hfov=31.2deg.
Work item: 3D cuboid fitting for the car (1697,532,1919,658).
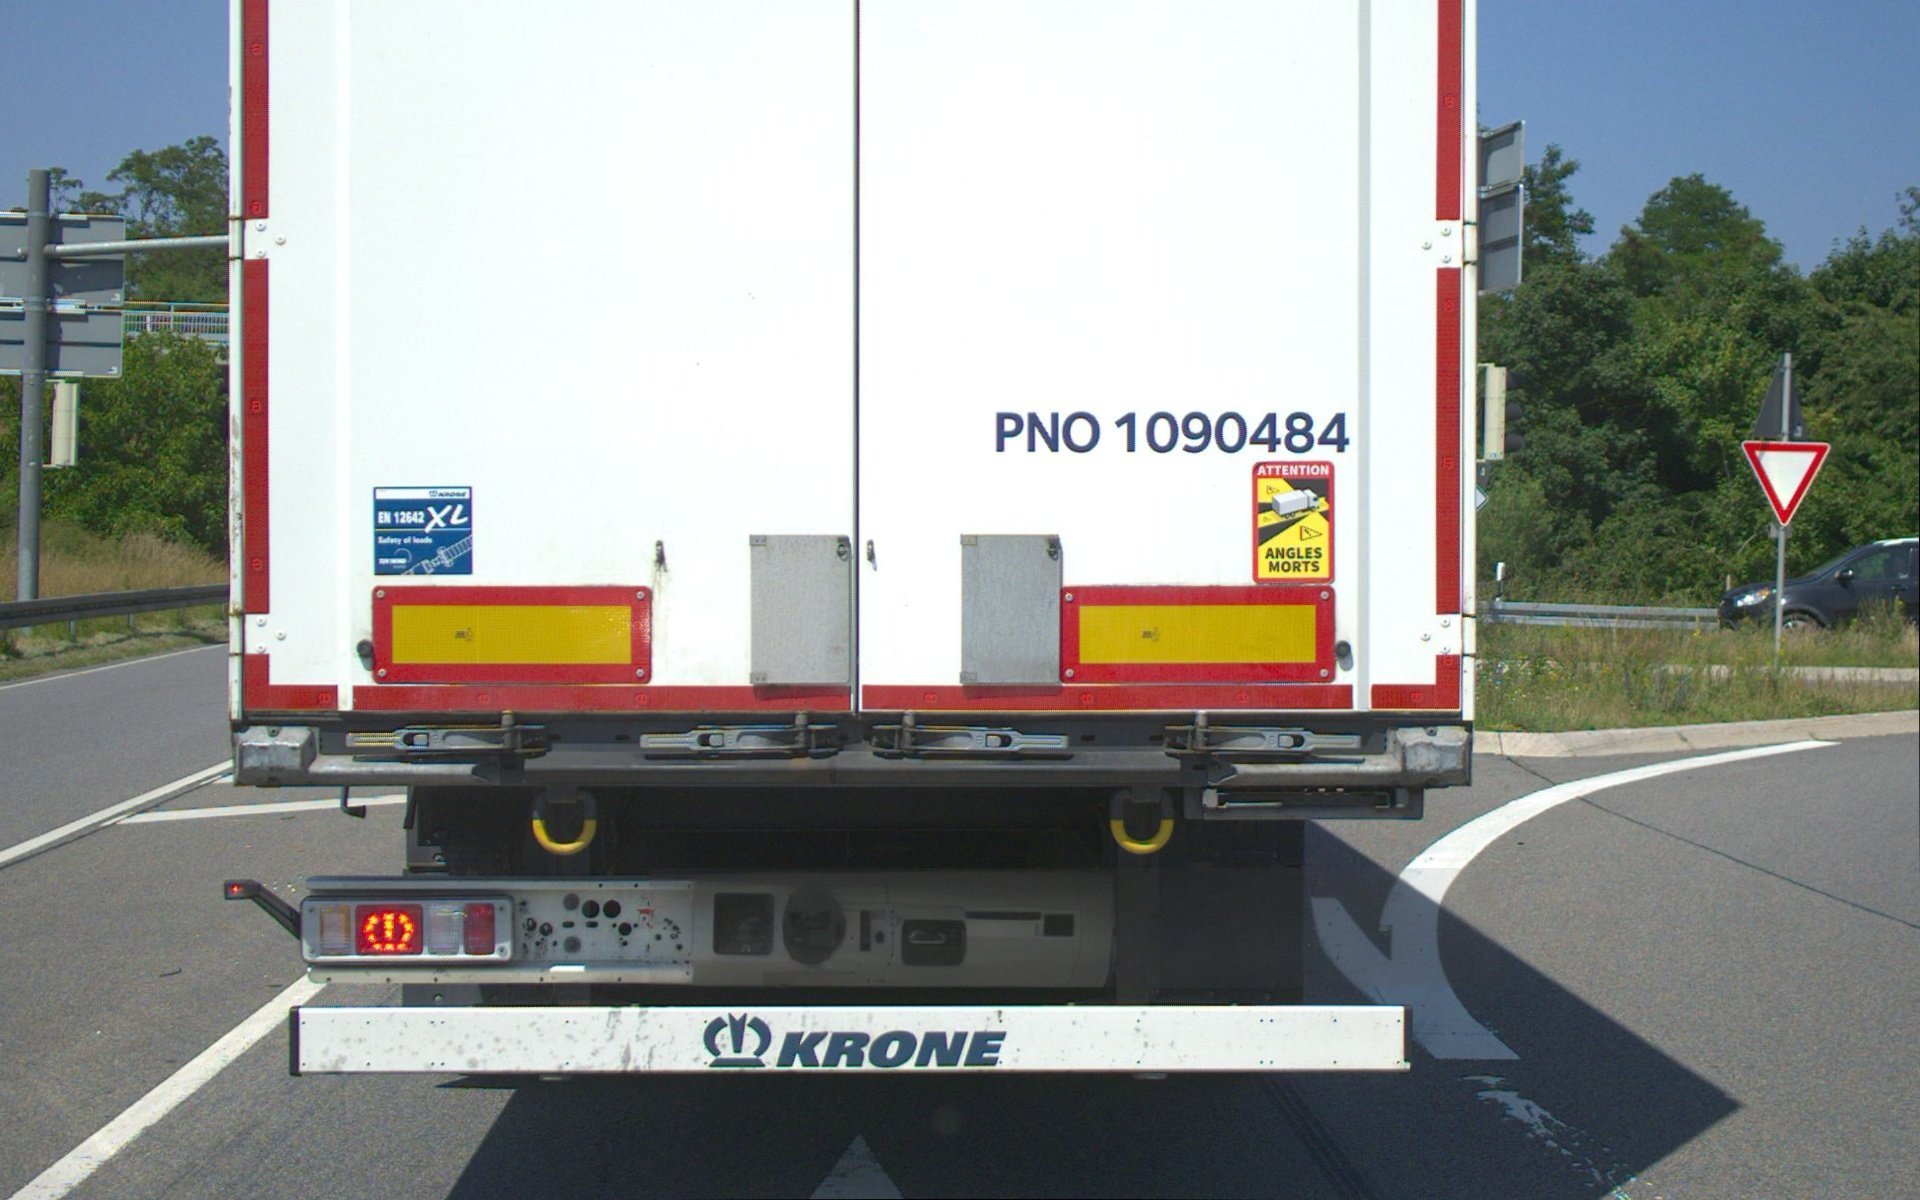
[{"bbox_3d":[12.034,-0.066,46.097,3.986,1.634,1.841,1,0,5],"label":"car"}]

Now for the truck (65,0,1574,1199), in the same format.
[{"bbox_3d":[-0.376,-0.635,11.784,2.987,3.928,9.876,1,1,-1],"label":"truck"}]
